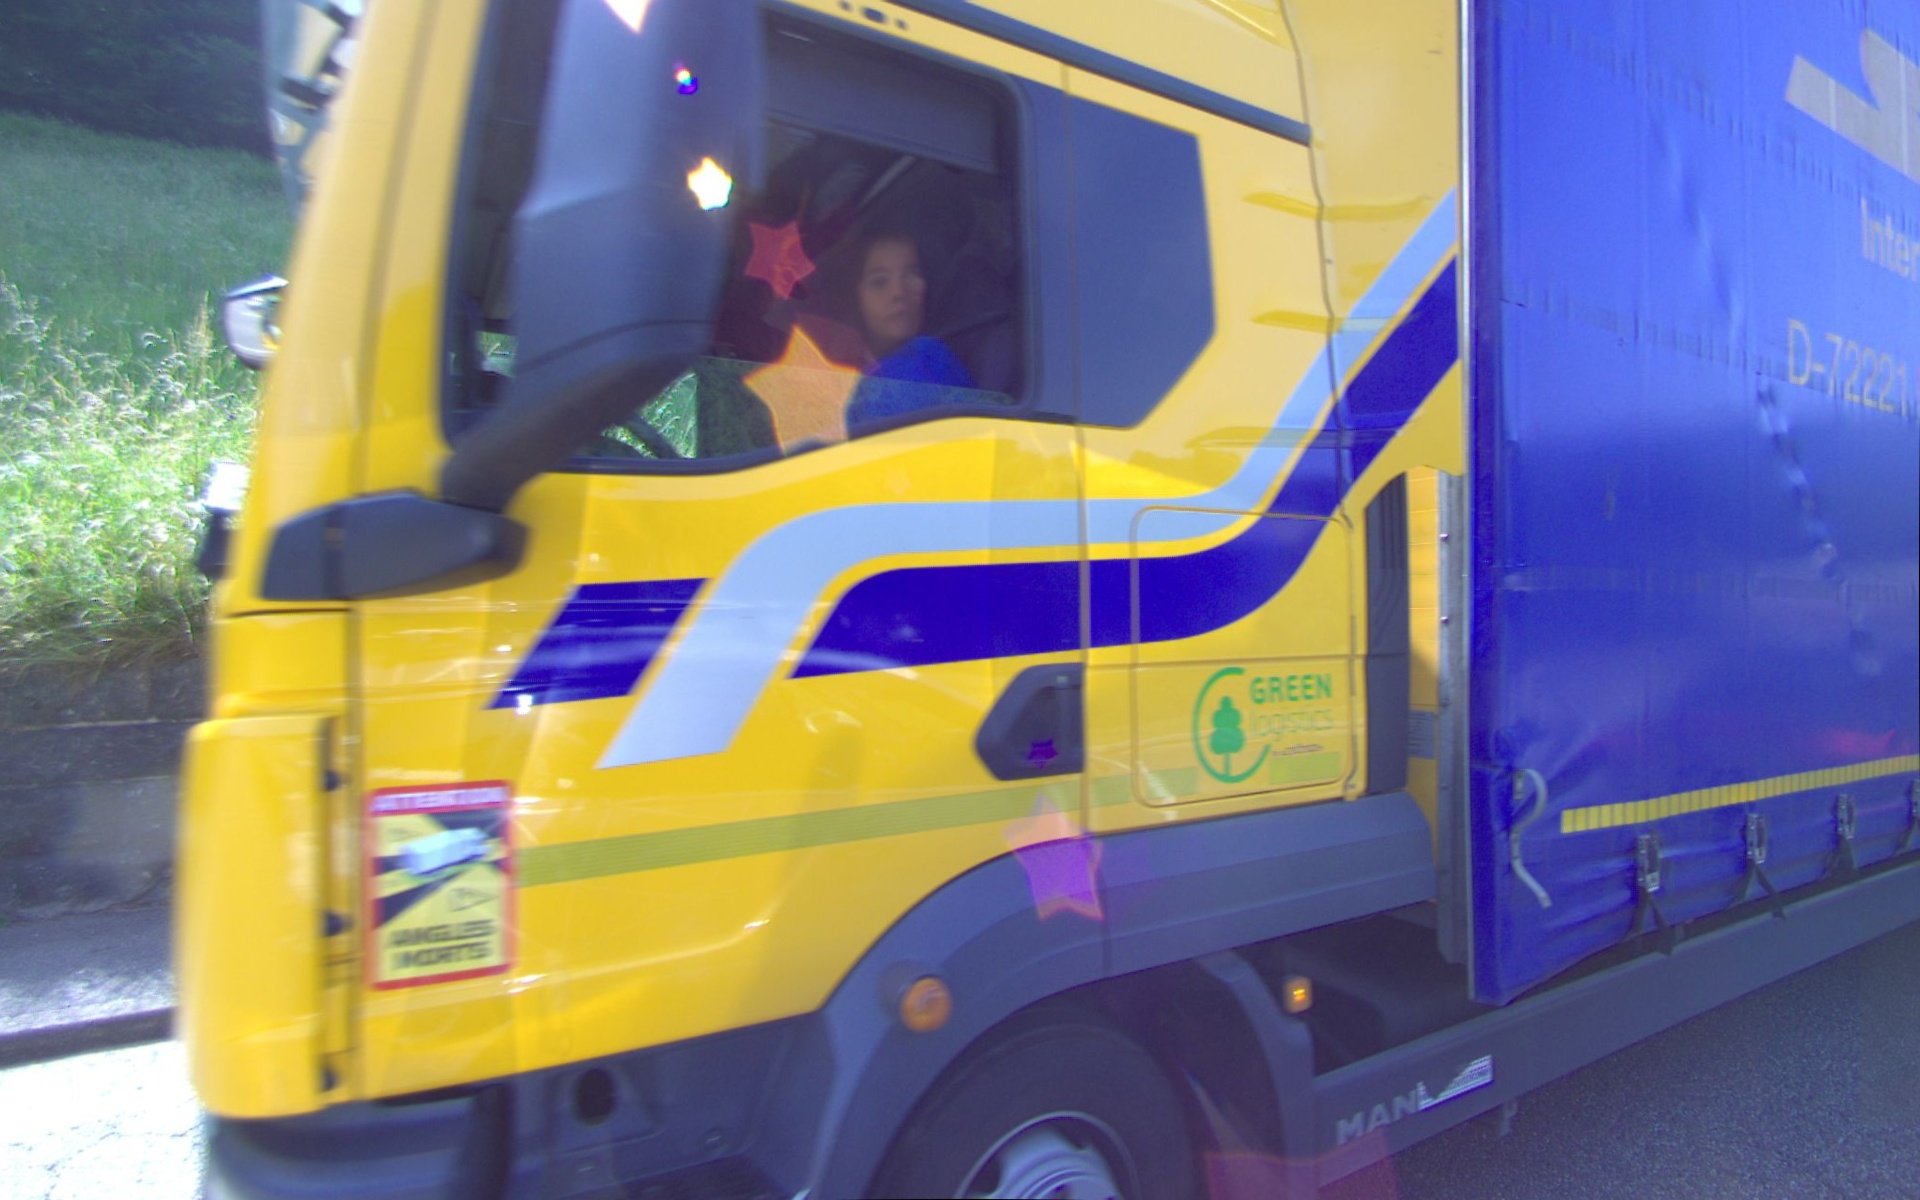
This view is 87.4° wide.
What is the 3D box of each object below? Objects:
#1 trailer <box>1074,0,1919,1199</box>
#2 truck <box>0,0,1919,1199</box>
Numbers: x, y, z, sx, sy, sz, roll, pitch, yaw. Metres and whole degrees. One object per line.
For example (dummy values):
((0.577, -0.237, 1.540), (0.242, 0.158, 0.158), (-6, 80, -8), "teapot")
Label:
((7.999, -0.621, 7.601), (15.125, 4.477, 3.246), (0, 1, -29), "trailer")
((1.209, -0.643, 3.816), (6.491, 4.456, 3.174), (-1, 1, -29), "truck")
